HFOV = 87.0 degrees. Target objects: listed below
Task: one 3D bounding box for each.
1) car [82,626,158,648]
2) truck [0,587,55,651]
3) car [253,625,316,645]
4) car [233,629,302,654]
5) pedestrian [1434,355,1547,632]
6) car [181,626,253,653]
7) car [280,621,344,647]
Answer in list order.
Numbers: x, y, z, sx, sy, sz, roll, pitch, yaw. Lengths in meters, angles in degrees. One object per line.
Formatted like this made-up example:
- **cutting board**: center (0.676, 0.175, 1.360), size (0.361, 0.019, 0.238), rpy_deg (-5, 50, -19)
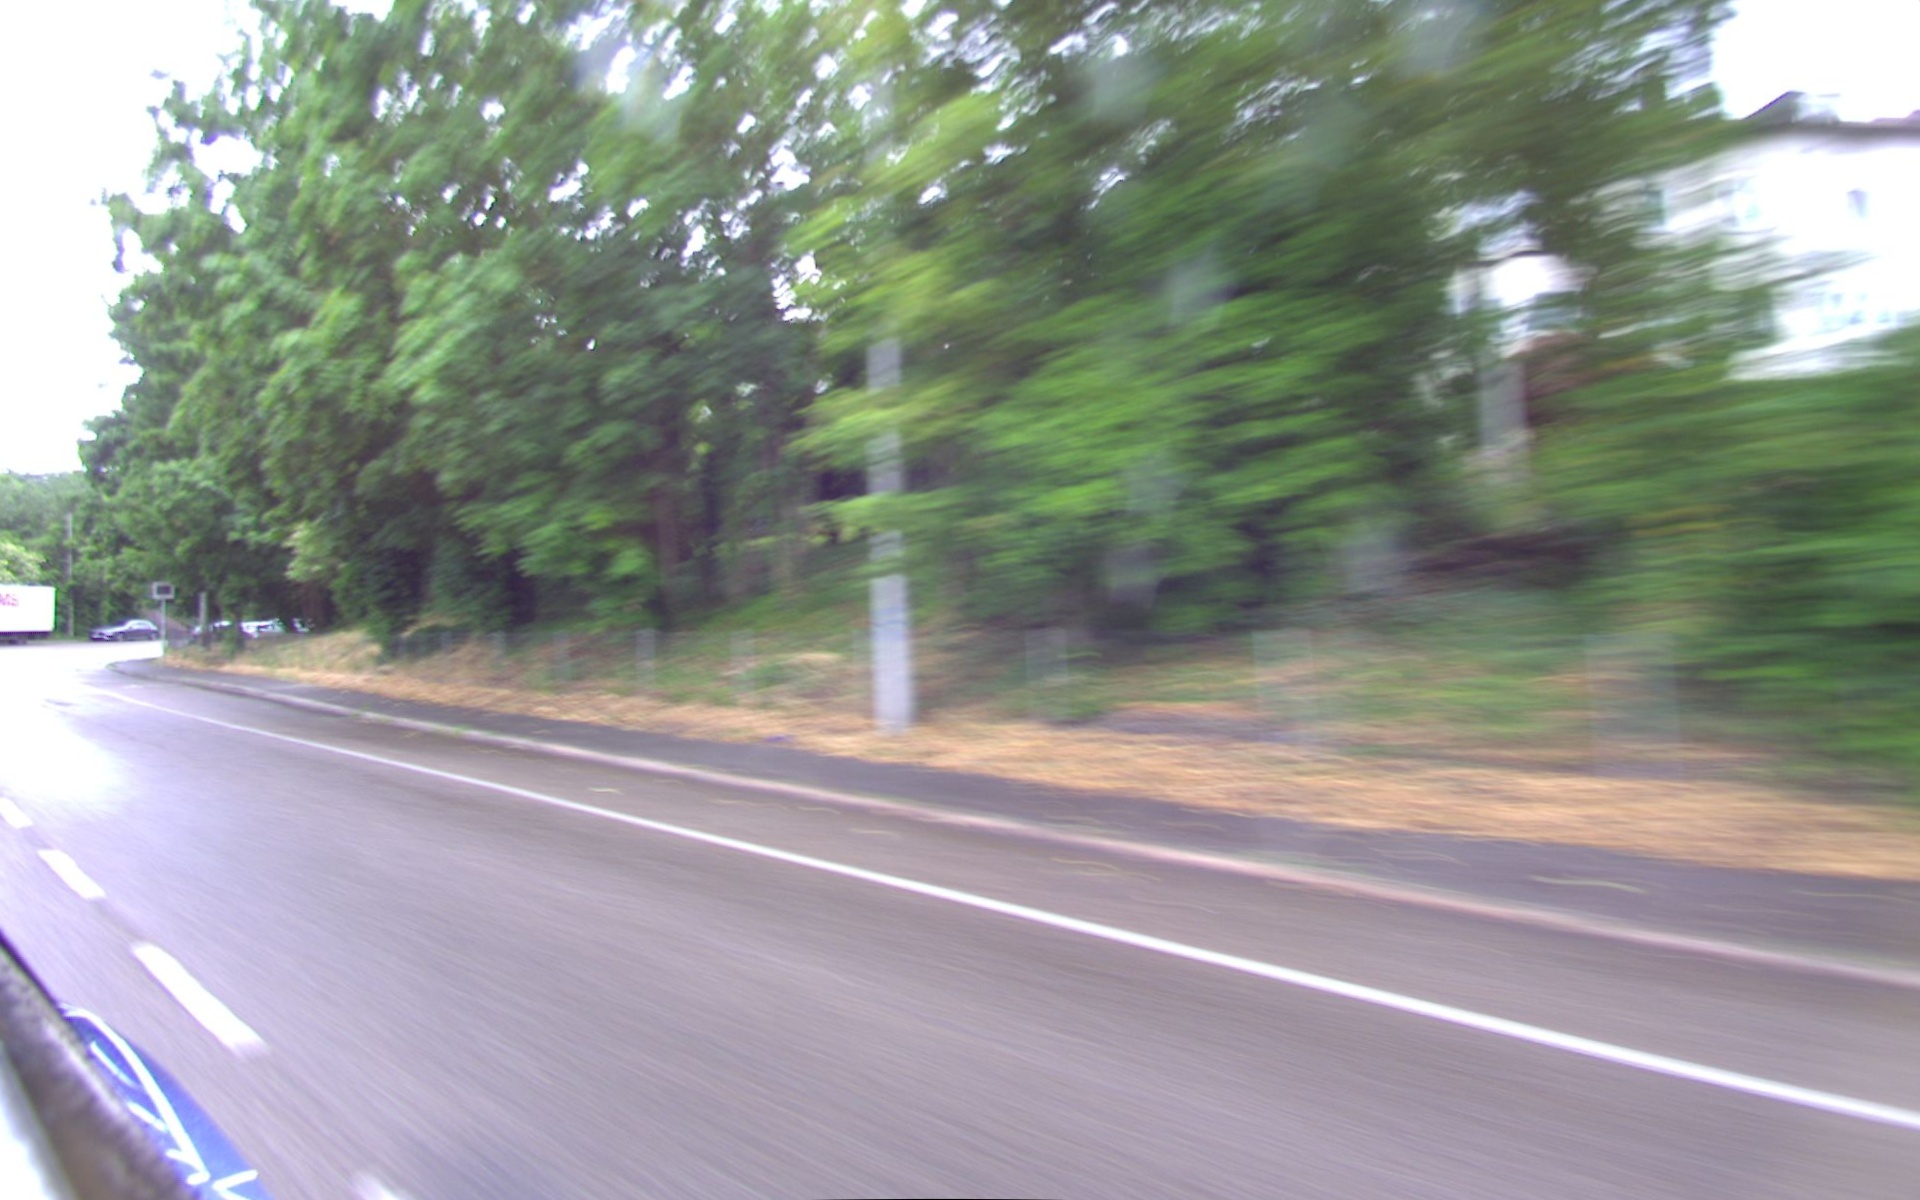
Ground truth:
- **car**: center (-57.000, 2.480, 68.774), size (1.703, 1.455, 4.122), rpy_deg (0, -1, 1)
- **truck**: center (-55.909, 1.098, 57.392), size (2.967, 3.601, 8.355), rpy_deg (0, -1, -11)
- **car**: center (-54.896, 2.829, 82.352), size (1.745, 1.411, 4.074), rpy_deg (-3, -2, 16)
- **car**: center (-44.137, 2.636, 64.588), size (1.732, 1.467, 4.048), rpy_deg (0, 0, -1)
- **pedestrian**: center (9.588, -1.880, 18.349), size (1.323, 4.783, 1.187), rpy_deg (-2, 2, -1)
- **car**: center (-43.422, 2.278, 59.242), size (1.750, 1.454, 4.023), rpy_deg (0, -1, -9)
- **car**: center (-44.473, 2.291, 69.540), size (1.785, 1.595, 4.023), rpy_deg (0, 1, 1)
